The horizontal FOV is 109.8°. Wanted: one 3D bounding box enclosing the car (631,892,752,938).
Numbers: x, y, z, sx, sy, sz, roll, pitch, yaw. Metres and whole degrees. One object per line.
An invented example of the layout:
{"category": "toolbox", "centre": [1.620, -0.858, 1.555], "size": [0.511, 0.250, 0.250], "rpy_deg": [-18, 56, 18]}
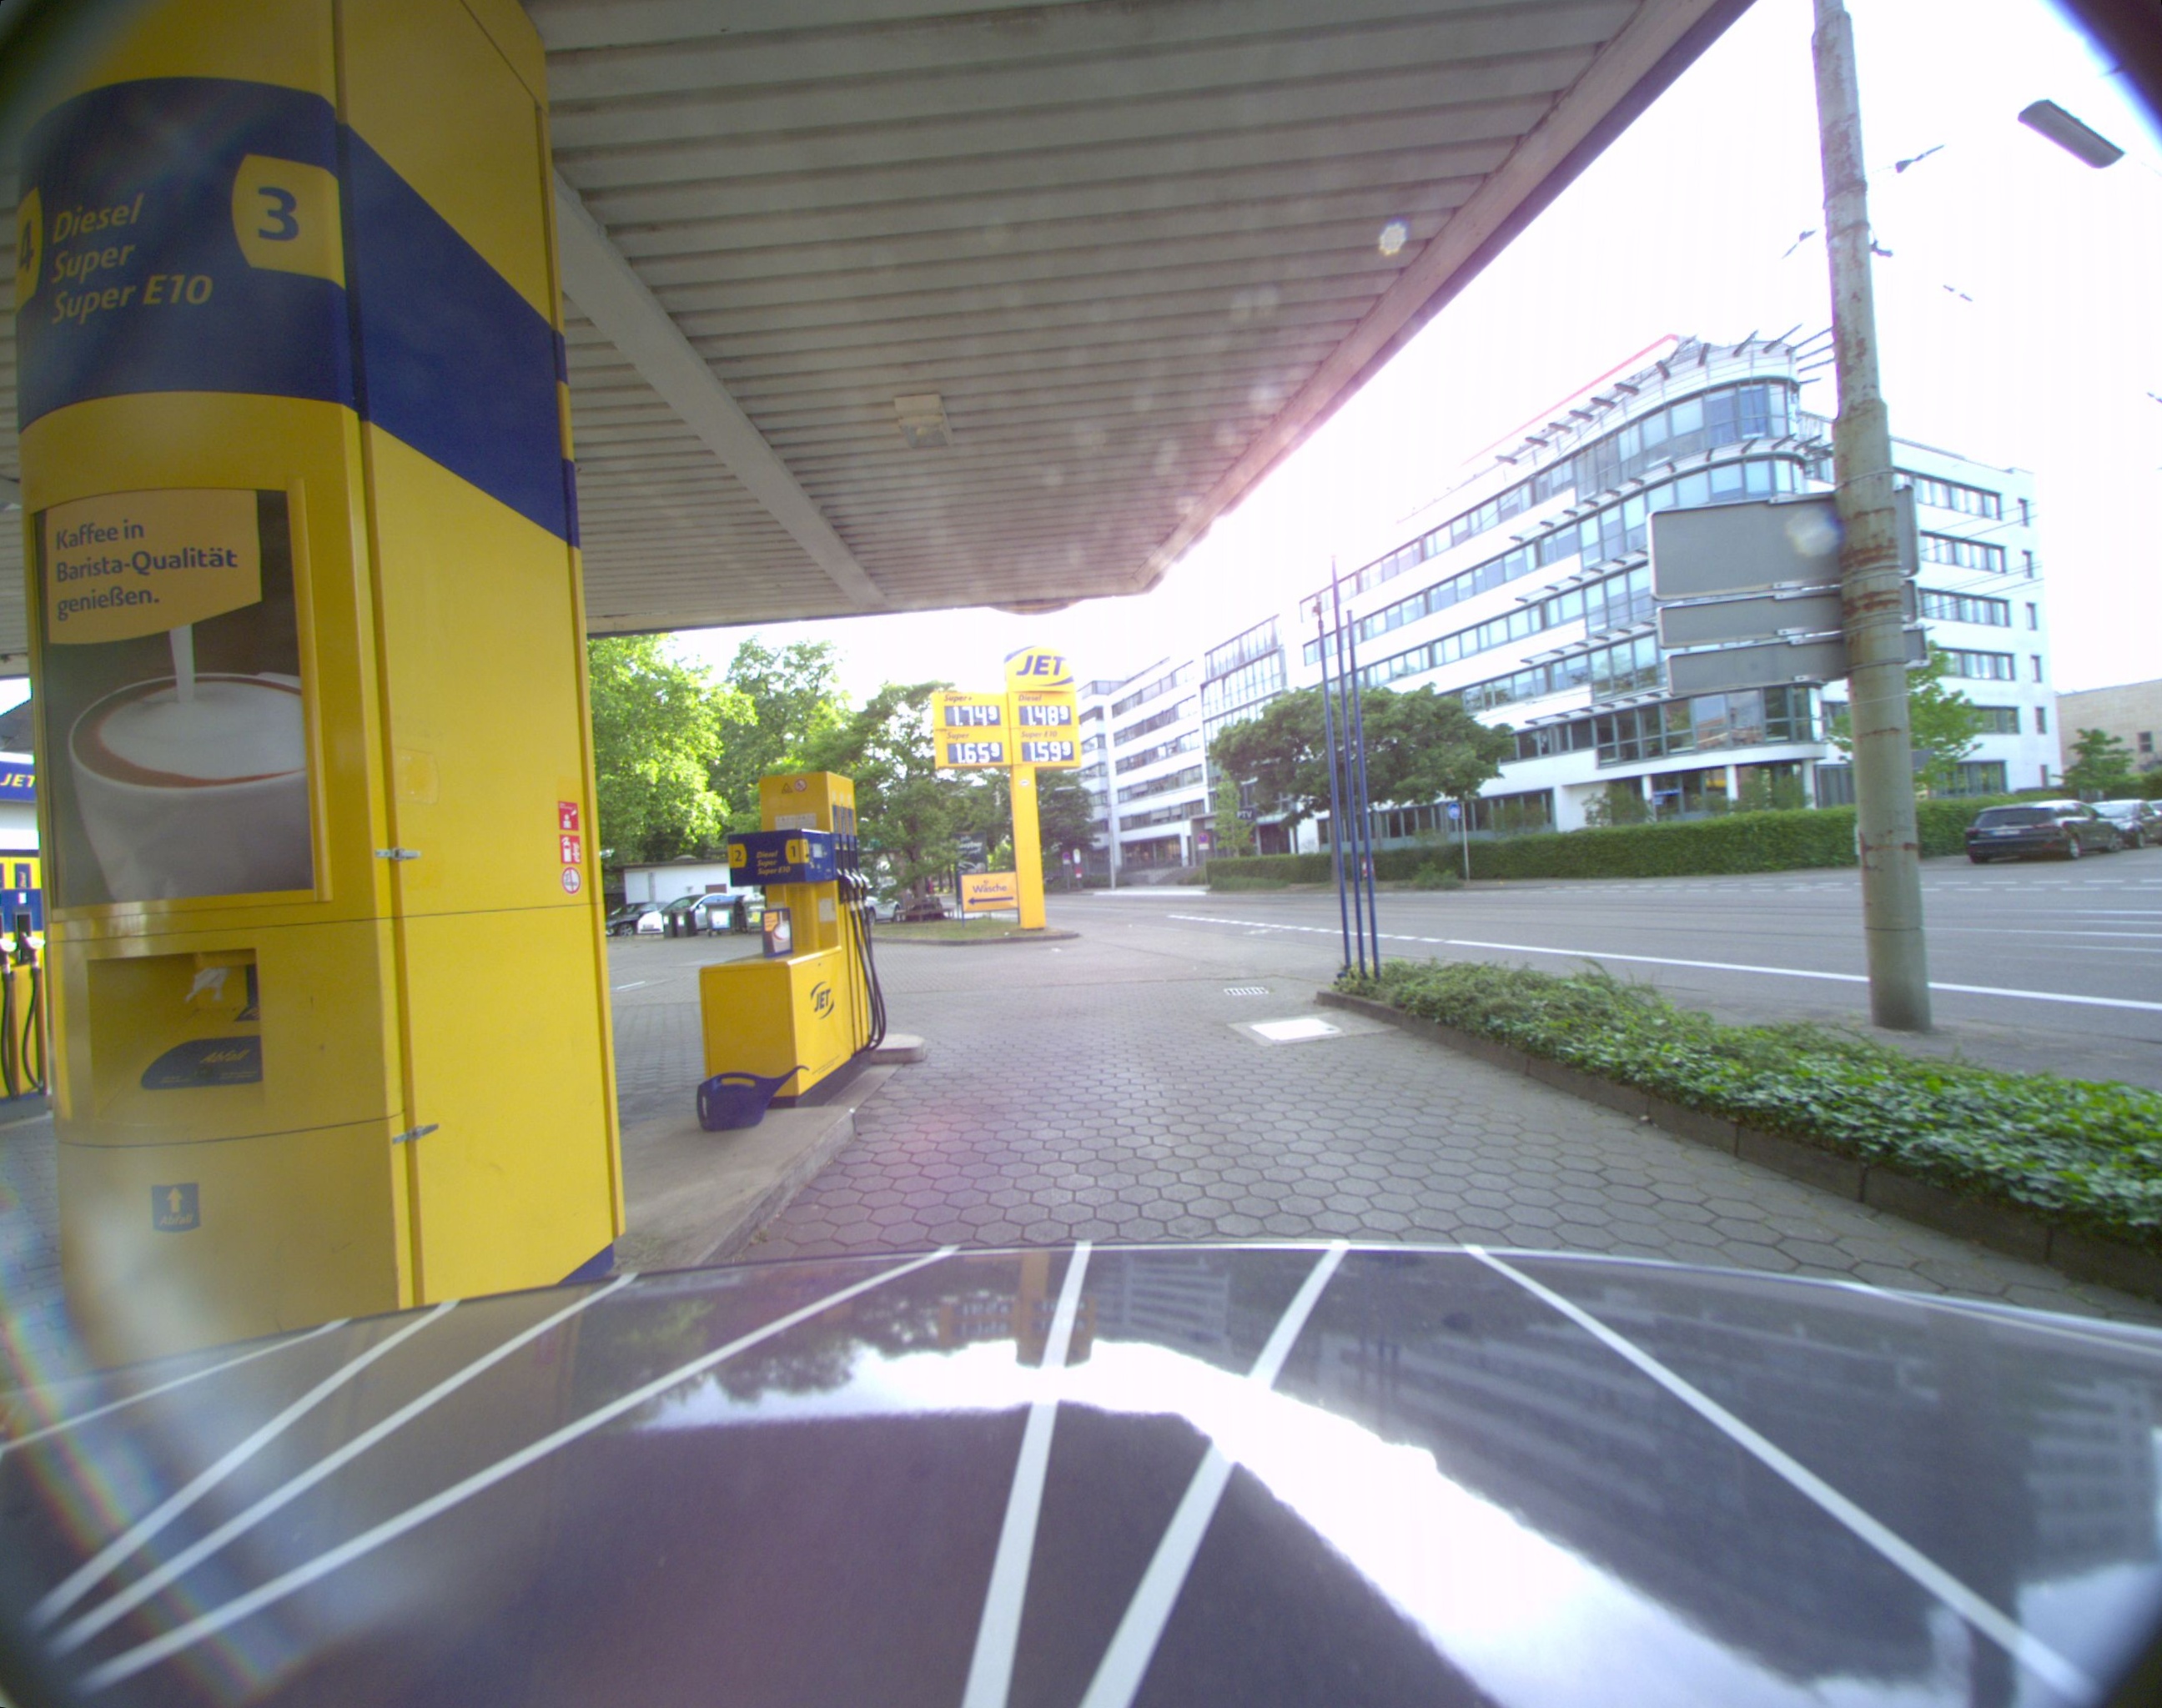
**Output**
{"category": "car", "centre": [-15.359, 2.387, 30.251], "size": [1.785, 1.514, 4.229], "rpy_deg": [-4, -3, 17]}

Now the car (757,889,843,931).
{"category": "car", "centre": [-11.801, 2.325, 32.239], "size": [1.739, 1.500, 4.004], "rpy_deg": [-4, -2, 6]}

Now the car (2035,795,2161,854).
{"category": "car", "centre": [32.491, -0.944, 24.038], "size": [4.109, 1.544, 1.786], "rpy_deg": [-4, -1, -23]}

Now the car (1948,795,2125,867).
{"category": "car", "centre": [27.377, -0.651, 21.767], "size": [4.438, 1.603, 1.976], "rpy_deg": [-5, -1, -23]}

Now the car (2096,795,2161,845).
{"category": "car", "centre": [37.151, -1.240, 26.076], "size": [4.109, 1.544, 1.786], "rpy_deg": [-4, -1, -23]}

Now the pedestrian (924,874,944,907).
{"category": "pedestrian", "centre": [-9.382, 2.315, 48.470], "size": [0.934, 2.001, 1.214], "rpy_deg": [-2, -1, -24]}

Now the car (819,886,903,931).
{"category": "car", "centre": [-8.686, 2.118, 30.377], "size": [1.739, 1.500, 4.003], "rpy_deg": [-4, -2, 6]}

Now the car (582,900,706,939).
{"category": "car", "centre": [-17.745, 2.635, 31.067], "size": [1.745, 1.269, 4.230], "rpy_deg": [-5, -3, 19]}
